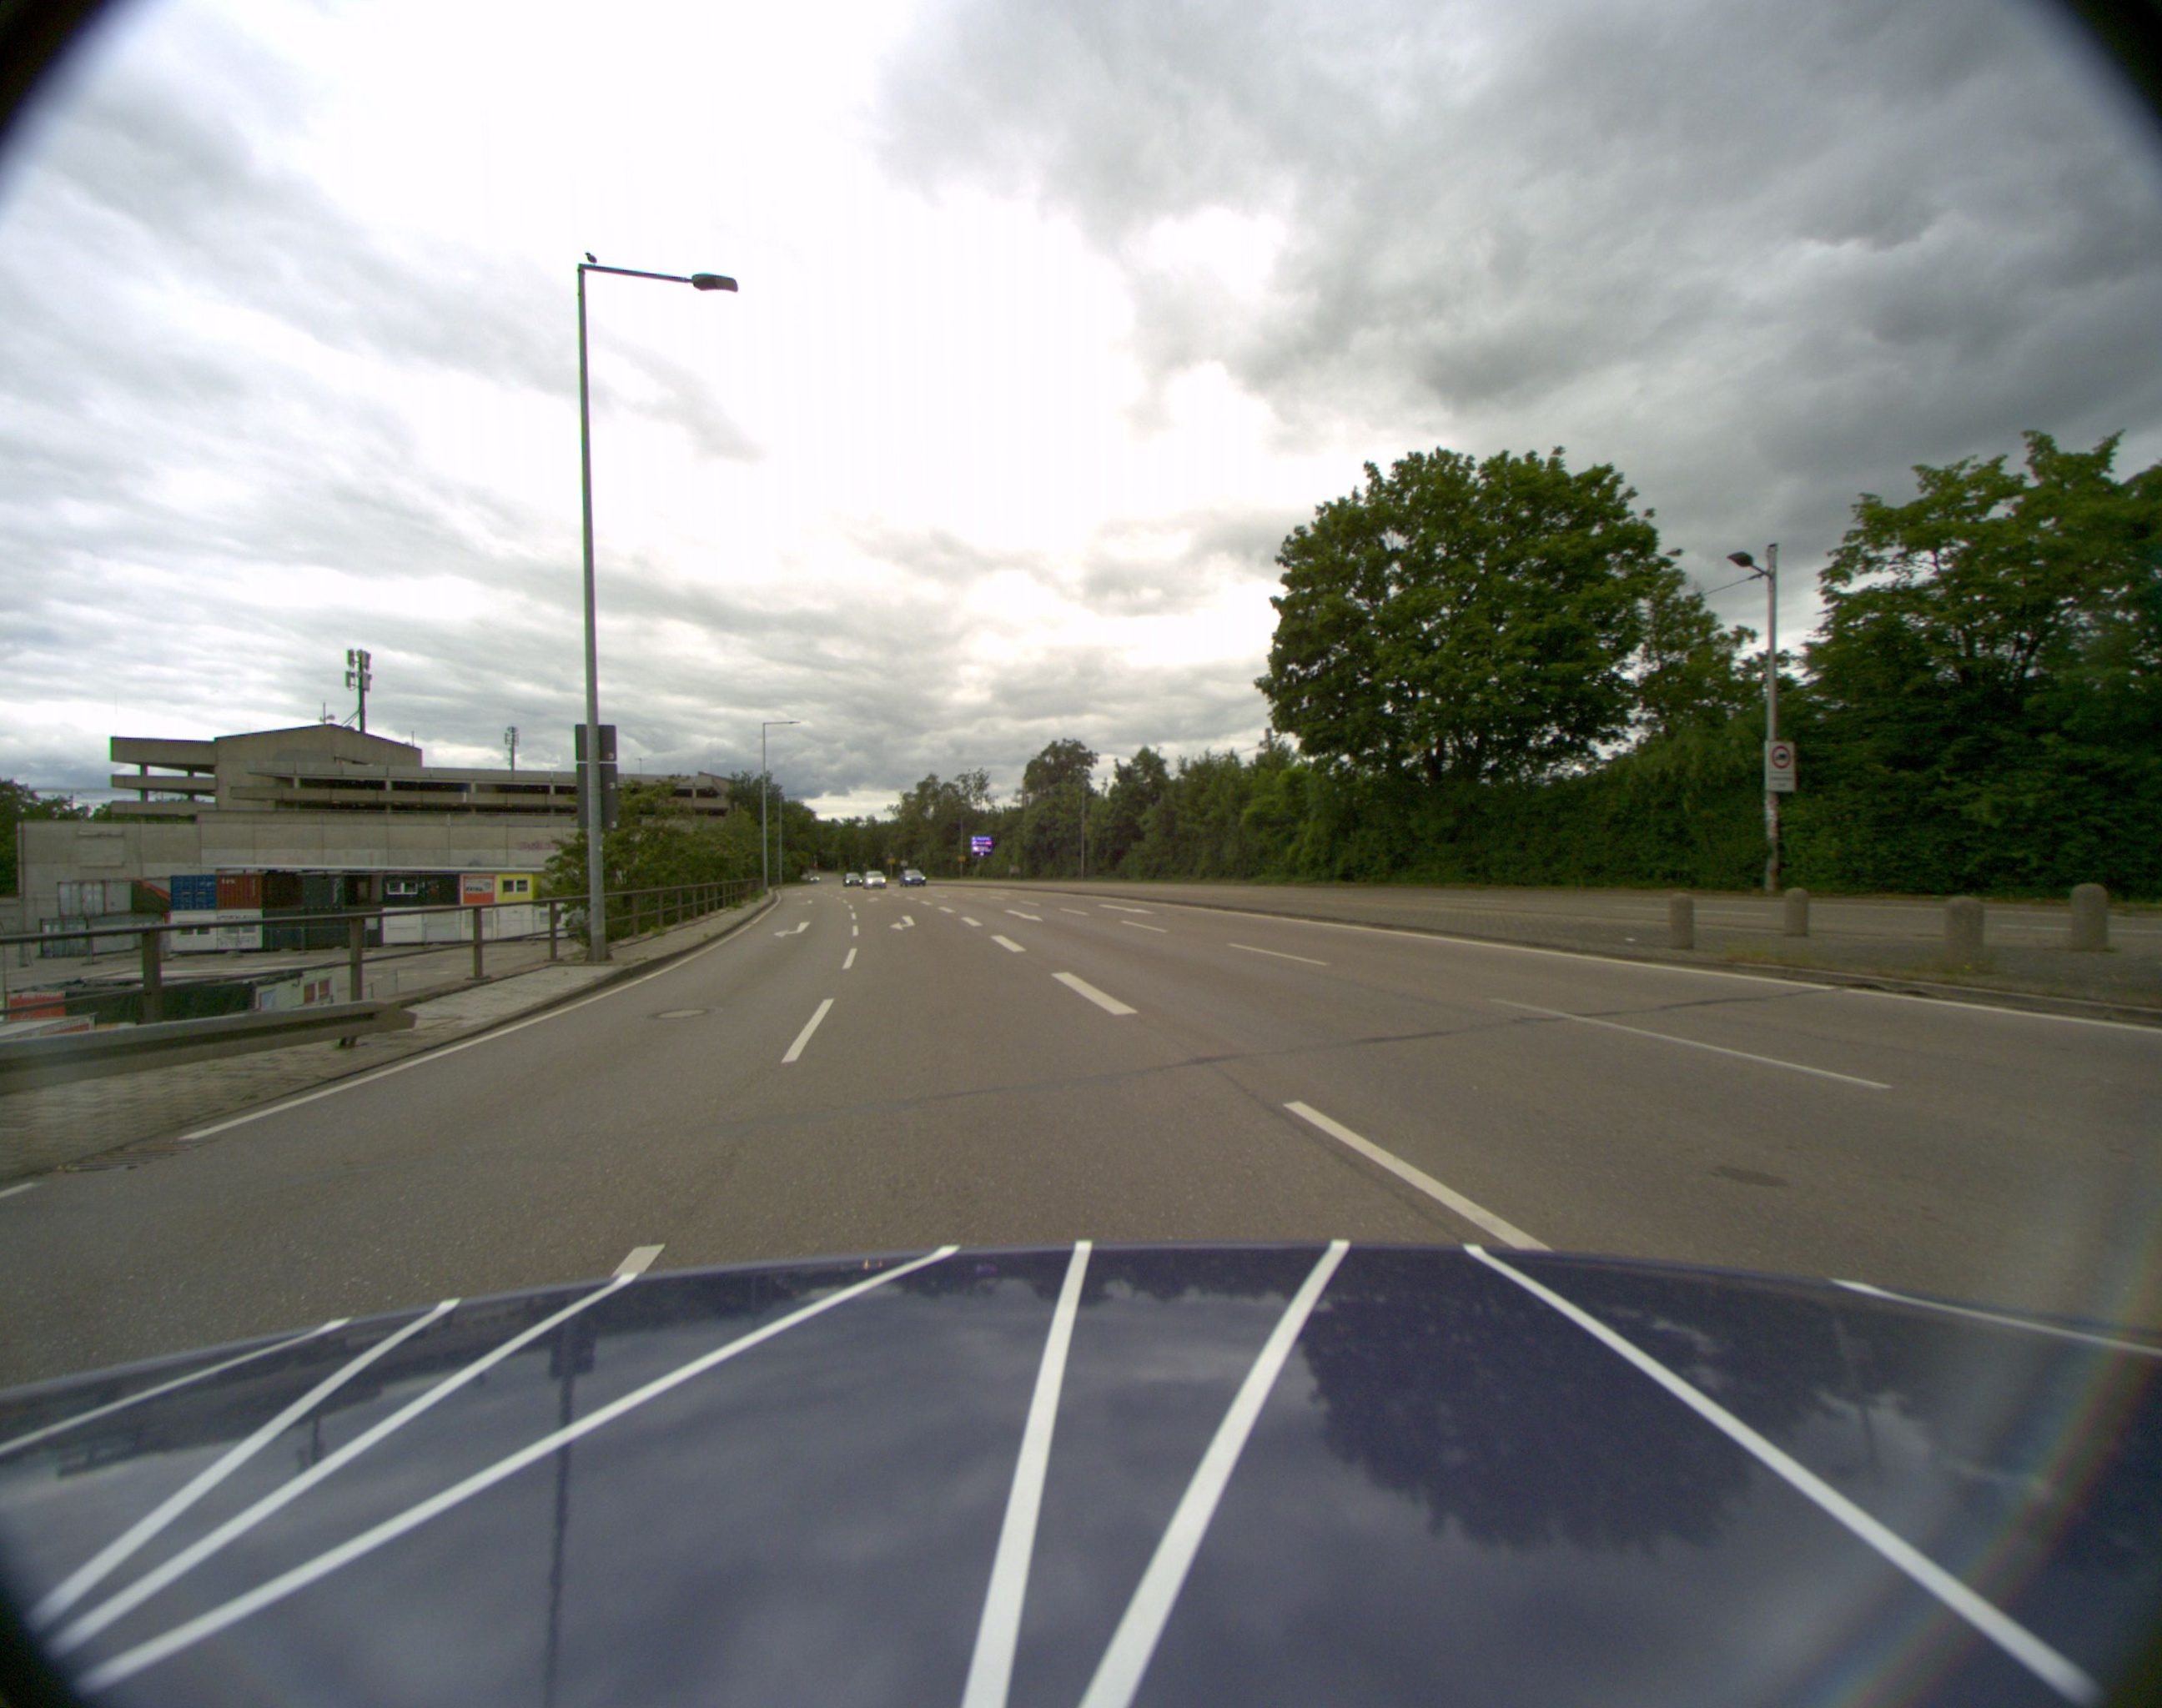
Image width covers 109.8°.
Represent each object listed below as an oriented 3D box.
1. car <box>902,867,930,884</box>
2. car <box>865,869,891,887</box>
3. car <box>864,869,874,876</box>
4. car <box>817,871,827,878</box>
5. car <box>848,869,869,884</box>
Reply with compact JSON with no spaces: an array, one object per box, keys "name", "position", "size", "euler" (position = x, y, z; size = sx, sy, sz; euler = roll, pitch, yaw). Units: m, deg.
[{"name":"car","position":[-14.621,1.893,67.165],"size":[1.845,1.408,4.573],"euler":[-2,0,-19]},{"name":"car","position":[-17.002,2.002,63.617],"size":[1.612,1.408,3.585],"euler":[-2,0,-23]},{"name":"car","position":[-45.136,3.901,161.771],"size":[1.706,1.455,3.993],"euler":[-3,0,-22]},{"name":"car","position":[-57.111,4.485,167.669],"size":[1.868,1.408,4.331],"euler":[-2,0,-21]},{"name":"car","position":[-23.909,2.388,81.511],"size":[1.867,1.408,4.331],"euler":[-2,0,-20]}]
